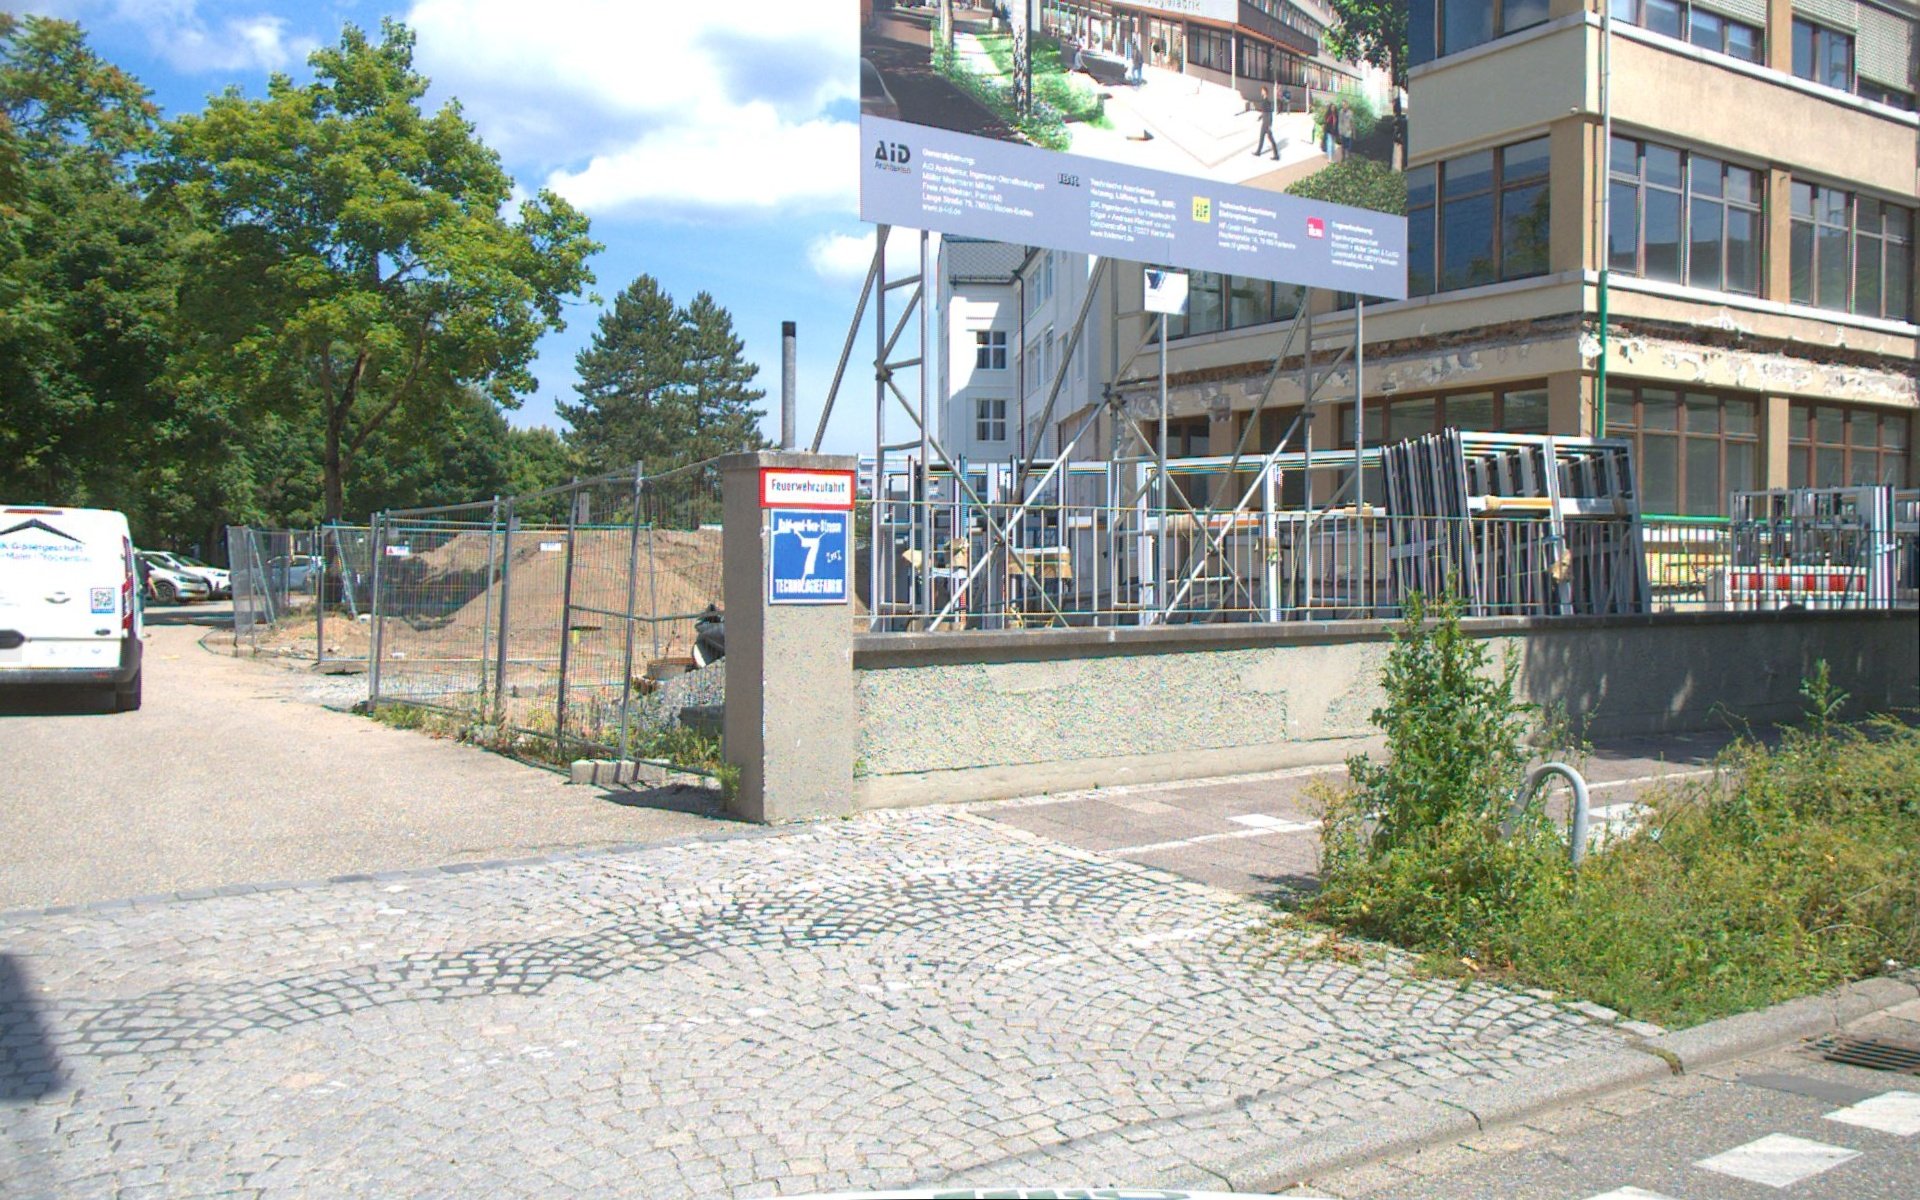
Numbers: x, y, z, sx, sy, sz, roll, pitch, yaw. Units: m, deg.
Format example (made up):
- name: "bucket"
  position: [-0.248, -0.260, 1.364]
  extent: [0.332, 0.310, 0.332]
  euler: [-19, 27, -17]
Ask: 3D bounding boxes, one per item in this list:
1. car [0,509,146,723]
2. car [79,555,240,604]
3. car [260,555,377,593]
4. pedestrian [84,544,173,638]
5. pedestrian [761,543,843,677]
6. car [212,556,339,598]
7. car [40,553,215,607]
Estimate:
- name: "car"
  position: [-9.870, 0.096, 17.425]
  extent: [1.953, 1.981, 4.533]
  euler: [-1, 2, -31]
- name: "car"
  position: [-26.217, -0.674, 54.291]
  extent: [4.420, 1.558, 1.723]
  euler: [0, 1, -7]
- name: "car"
  position: [-28.046, -1.124, 72.396]
  extent: [4.419, 1.625, 1.934]
  euler: [0, 1, -6]
- name: "pedestrian"
  position: [-15.186, -0.172, 30.240]
  extent: [1.013, 1.678, 1.050]
  euler: [1, 2, 10]
- name: "pedestrian"
  position: [-2.251, 0.122, 23.530]
  extent: [0.952, 1.851, 0.864]
  euler: [0, 1, -25]
- name: "car"
  position: [-27.610, -0.943, 66.795]
  extent: [4.420, 1.625, 1.723]
  euler: [0, 2, -7]
- name: "car"
  position: [-25.990, -0.602, 51.769]
  extent: [4.418, 1.637, 1.997]
  euler: [0, -1, -6]
